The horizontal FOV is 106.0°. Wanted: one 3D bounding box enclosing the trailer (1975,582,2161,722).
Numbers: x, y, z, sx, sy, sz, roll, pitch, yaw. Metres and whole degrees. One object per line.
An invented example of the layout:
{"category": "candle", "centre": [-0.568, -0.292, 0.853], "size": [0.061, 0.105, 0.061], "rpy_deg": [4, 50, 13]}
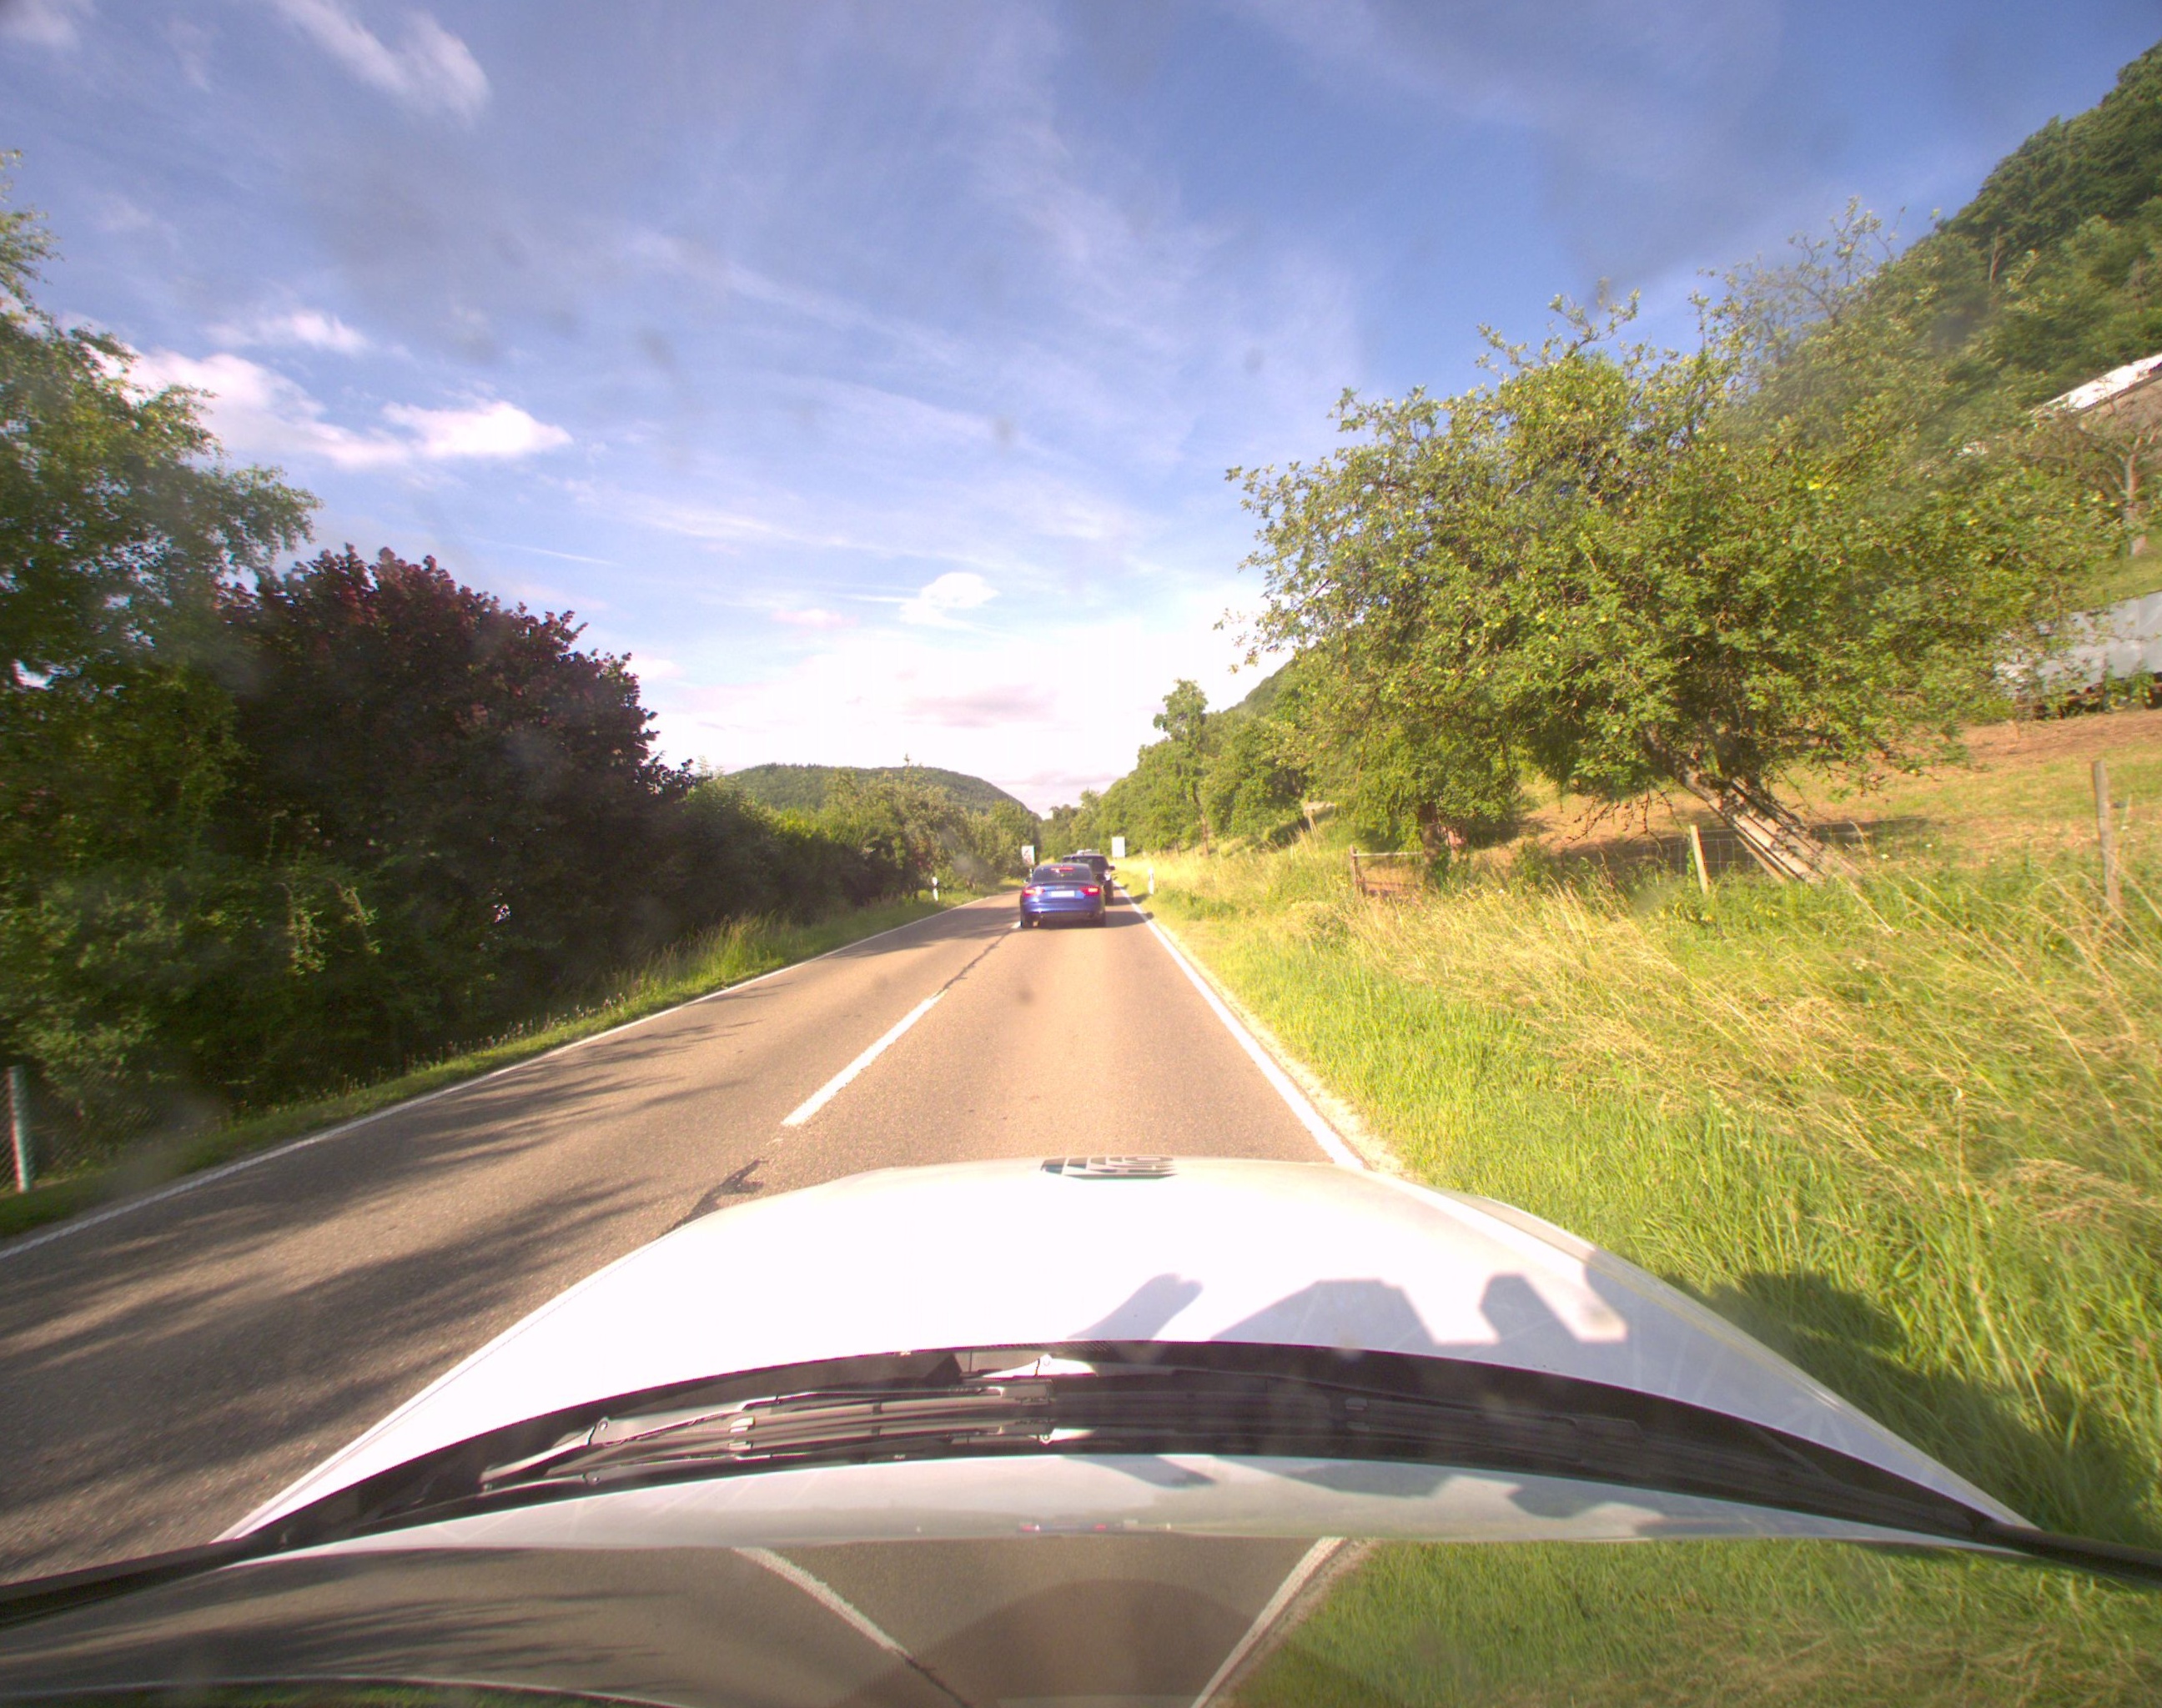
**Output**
{"category": "trailer", "centre": [23.871, -4.585, 18.080], "size": [2.147, 2.557, 5.243], "rpy_deg": [-5, 3, -3]}

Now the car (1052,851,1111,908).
{"category": "car", "centre": [0.030, 0.757, 25.863], "size": [1.687, 1.624, 3.789], "rpy_deg": [-2, 0, 0]}

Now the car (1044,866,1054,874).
{"category": "car", "centre": [-6.518, 3.269, 165.618], "size": [1.560, 1.496, 3.763], "rpy_deg": [0, 0, -12]}

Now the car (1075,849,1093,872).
{"category": "car", "centre": [0.339, 0.734, 89.787], "size": [1.788, 2.453, 3.916], "rpy_deg": [0, 0, -2]}

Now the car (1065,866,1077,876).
{"category": "car", "centre": [-1.721, 2.879, 138.726], "size": [1.558, 1.496, 3.767], "rpy_deg": [0, 0, -8]}

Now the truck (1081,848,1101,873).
{"category": "truck", "centre": [0.946, 0.667, 79.209], "size": [1.944, 2.345, 5.093], "rpy_deg": [0, 0, 0]}

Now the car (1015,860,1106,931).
{"category": "car", "centre": [-0.374, 0.858, 18.557], "size": [1.799, 1.382, 4.215], "rpy_deg": [-2, -1, 1]}

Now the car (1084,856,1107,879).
{"category": "car", "centre": [1.104, 1.000, 62.323], "size": [1.687, 1.624, 3.789], "rpy_deg": [-2, 0, 0]}
